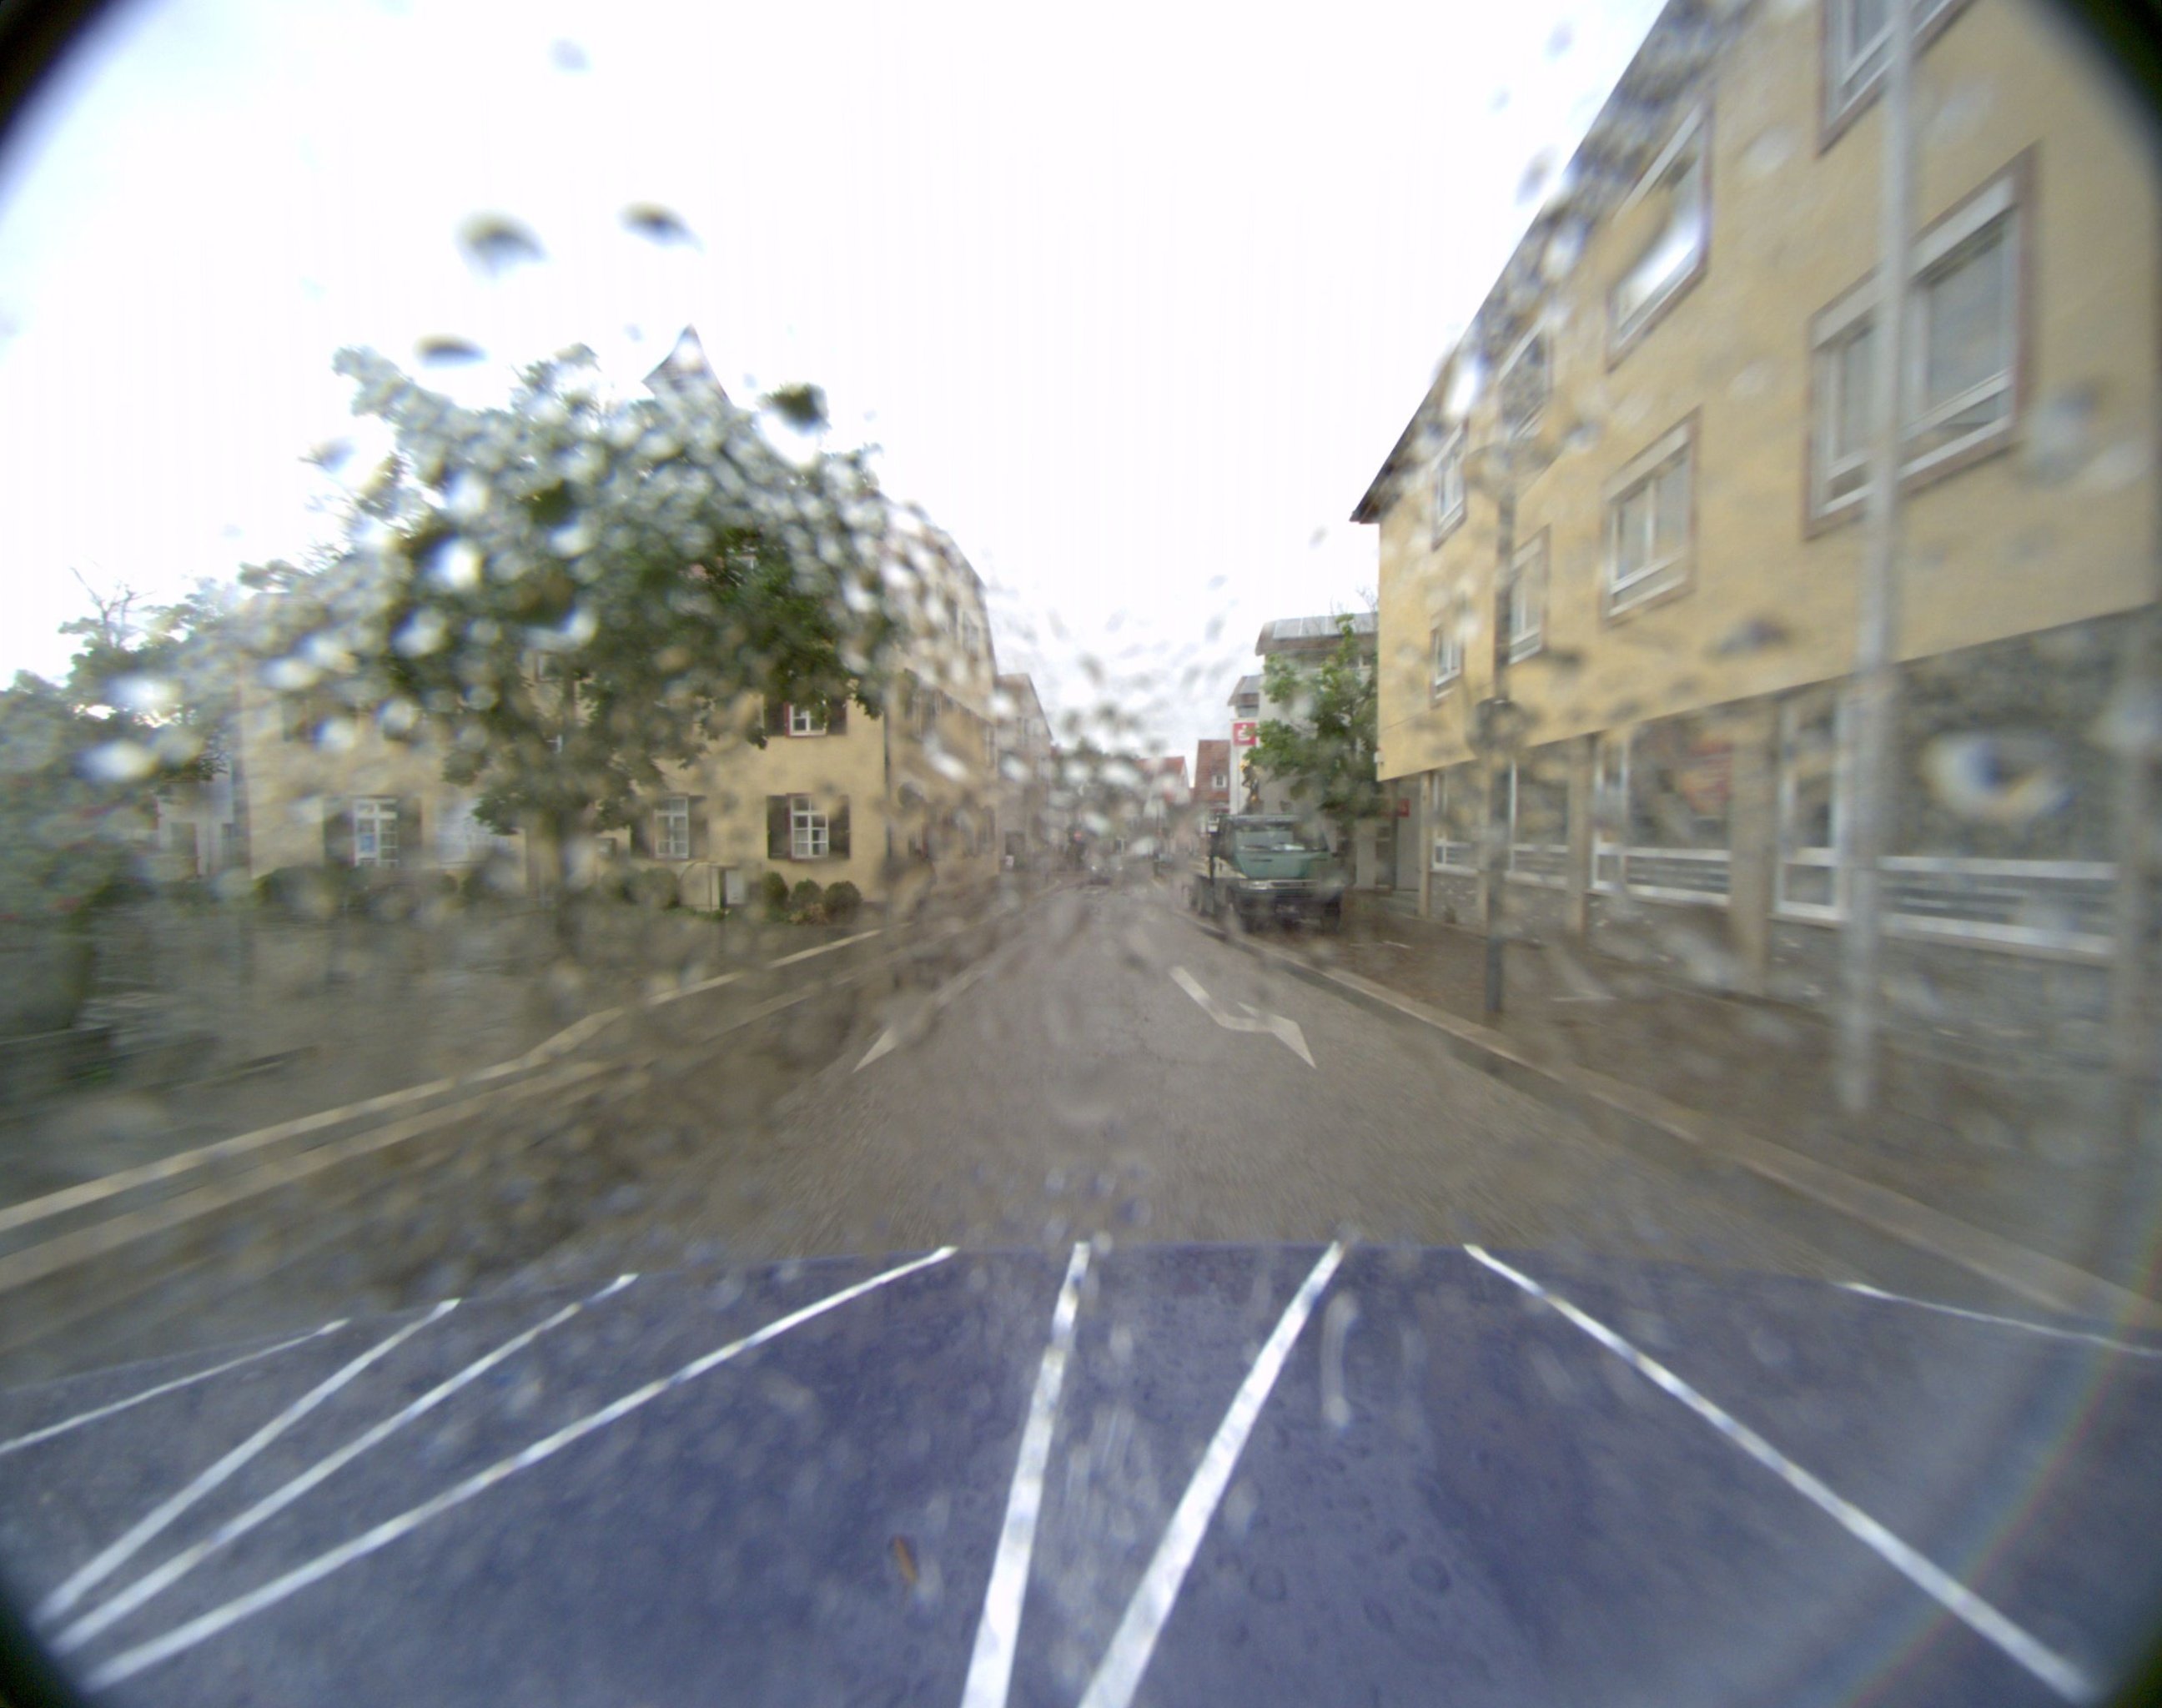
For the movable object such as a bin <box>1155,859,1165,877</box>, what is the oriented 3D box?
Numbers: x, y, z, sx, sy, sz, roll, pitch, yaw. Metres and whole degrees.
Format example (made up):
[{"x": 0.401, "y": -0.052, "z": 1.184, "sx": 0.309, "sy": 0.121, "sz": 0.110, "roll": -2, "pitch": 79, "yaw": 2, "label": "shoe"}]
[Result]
[{"x": 5.028, "y": 0.904, "z": 48.326, "sx": 0.659, "sy": 1.090, "sz": 0.613, "roll": 1, "pitch": 1, "yaw": 7, "label": "movable object such as a bin"}]

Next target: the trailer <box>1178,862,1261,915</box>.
[{"x": 3.811, "y": 0.924, "z": 21.399, "sx": 1.732, "sy": 1.338, "sz": 3.160, "roll": 1, "pitch": 0, "yaw": 0, "label": "trailer"}]

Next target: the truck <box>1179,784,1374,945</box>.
[{"x": 3.838, "y": 0.204, "z": 16.554, "sx": 2.480, "sy": 2.778, "sz": 6.599, "roll": 1, "pitch": 0, "yaw": 0, "label": "truck"}]

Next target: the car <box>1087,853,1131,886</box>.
[{"x": 1.475, "y": 0.755, "z": 38.114, "sx": 1.735, "sy": 1.546, "sz": 3.848, "roll": 1, "pitch": -1, "yaw": 9, "label": "car"}]

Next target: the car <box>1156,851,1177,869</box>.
[{"x": 7.273, "y": 0.473, "z": 65.033, "sx": 1.693, "sy": 1.477, "sz": 4.001, "roll": 0, "pitch": 1, "yaw": 5, "label": "car"}]

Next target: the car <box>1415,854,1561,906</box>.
[{"x": 13.531, "y": 0.830, "z": 25.541, "sx": 3.992, "sy": 1.555, "sz": 1.968, "roll": 1, "pitch": 1, "yaw": 16, "label": "car"}]

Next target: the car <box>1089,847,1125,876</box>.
[{"x": 1.689, "y": 0.424, "z": 48.346, "sx": 1.997, "sy": 1.740, "sz": 4.001, "roll": 1, "pitch": 1, "yaw": 6, "label": "car"}]

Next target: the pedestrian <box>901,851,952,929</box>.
[{"x": -3.450, "y": 0.785, "z": 17.010, "sx": 0.714, "sy": 1.683, "sz": 0.869, "roll": 1, "pitch": 1, "yaw": 33, "label": "pedestrian"}]

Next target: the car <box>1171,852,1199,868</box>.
[{"x": 10.518, "y": 0.589, "z": 76.532, "sx": 1.996, "sy": 1.520, "sz": 4.005, "roll": -2, "pitch": 0, "yaw": 18, "label": "car"}]
